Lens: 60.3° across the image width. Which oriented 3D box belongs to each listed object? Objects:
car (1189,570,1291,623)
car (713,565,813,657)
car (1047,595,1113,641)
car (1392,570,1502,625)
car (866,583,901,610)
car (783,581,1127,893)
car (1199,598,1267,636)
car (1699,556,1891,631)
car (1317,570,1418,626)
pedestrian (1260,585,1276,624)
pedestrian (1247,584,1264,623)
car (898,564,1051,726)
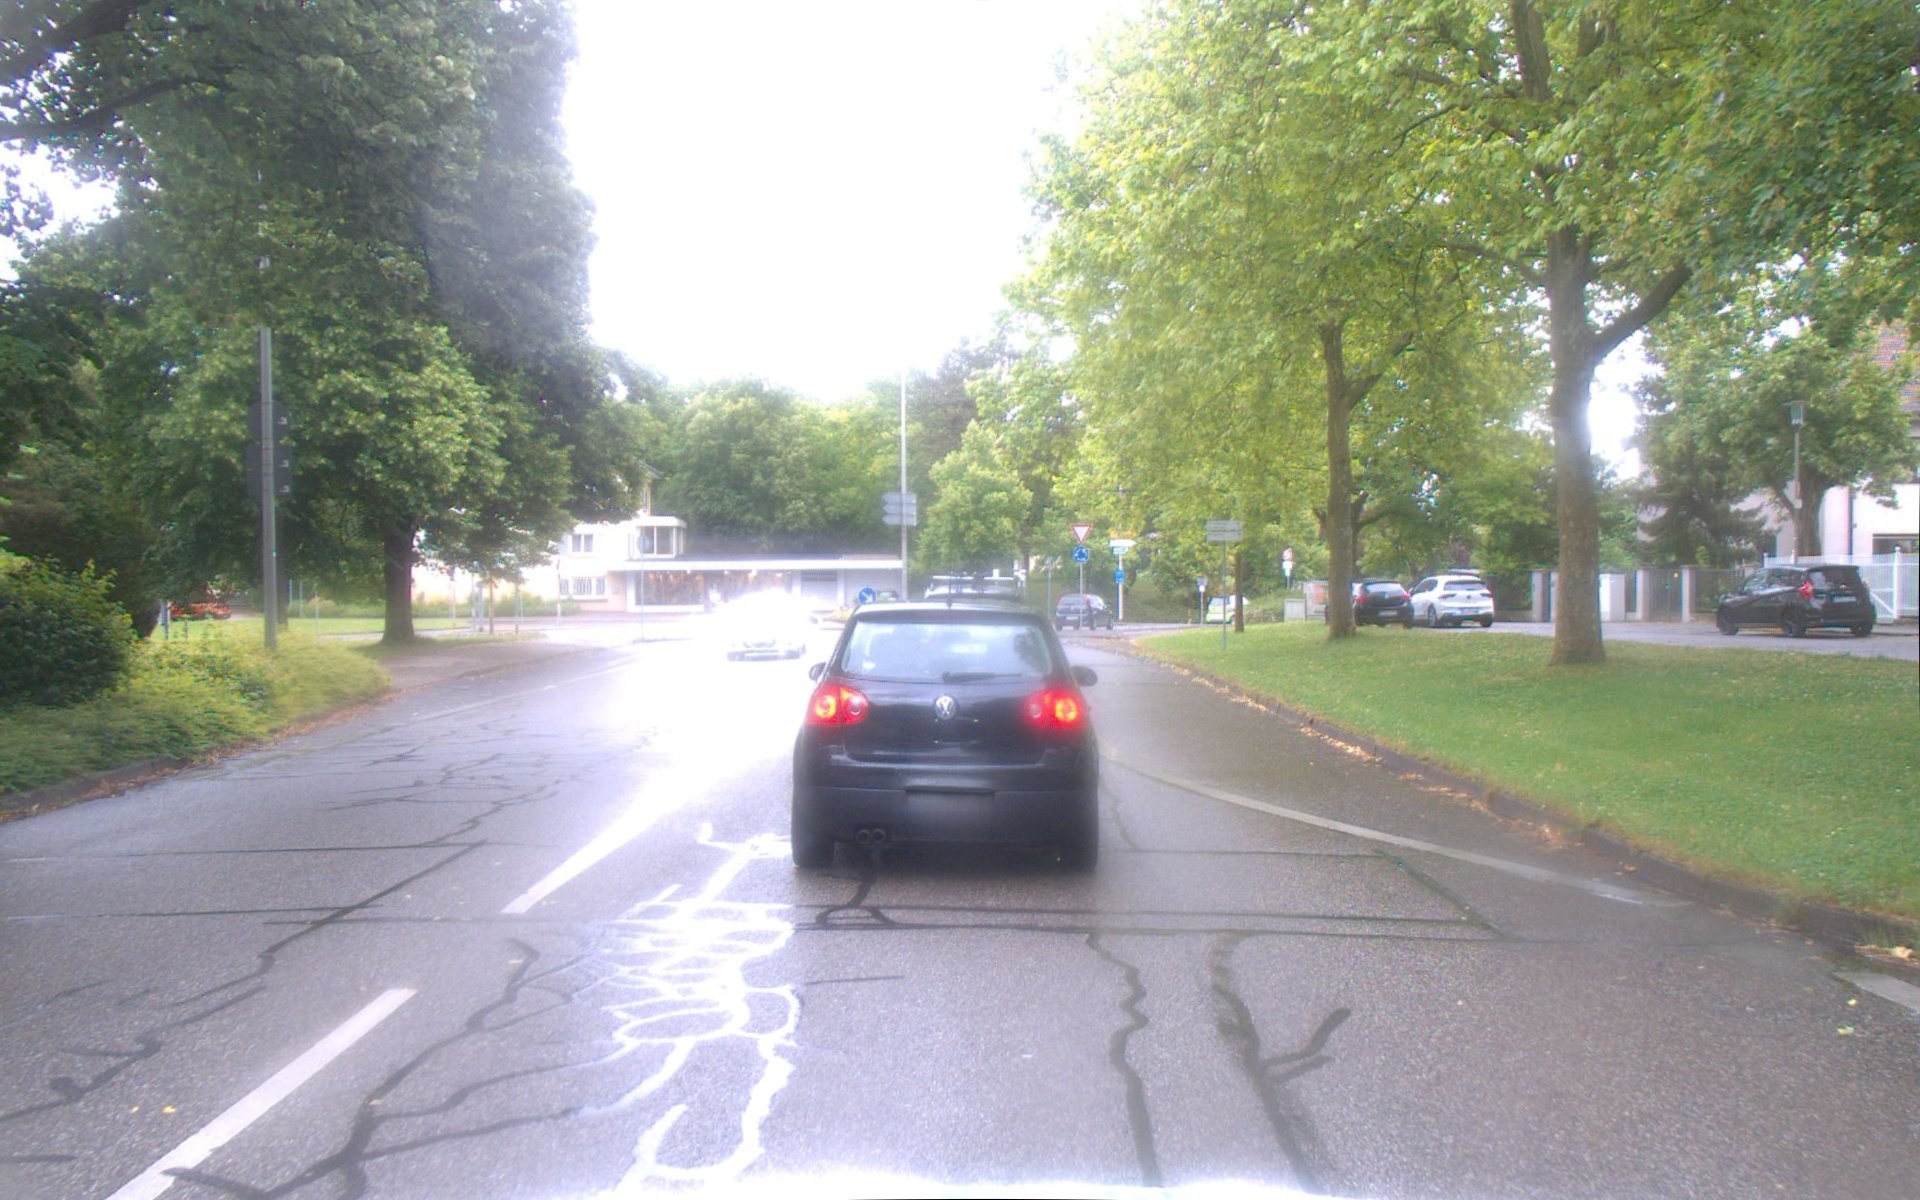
[{"bbox_3d":[10.514,-0.154,62.332,1.964,1.771,4.120,3,1,-20],"label":"car"},{"bbox_3d":[-4.671,0.261,39.819,1.953,2.049,4.572,1,0,-2],"label":"car"},{"bbox_3d":[4.946,0.735,67.595,1.952,1.556,4.003,-8,-2,12],"label":"car"},{"bbox_3d":[14.346,-0.067,48.999,1.808,1.497,4.424,-2,0,-2],"label":"car"},{"bbox_3d":[-4.536,-0.233,97.079,1.778,1.512,3.826,-1,0,-6],"label":"car"},{"bbox_3d":[-0.052,0.711,10.461,1.729,1.565,3.999,1,0,-1],"label":"car"},{"bbox_3d":[13.391,0.834,81.062,1.783,1.780,3.987,1,0,34],"label":"car"},{"bbox_3d":[17.978,-0.130,35.846,1.725,1.497,4.353,-1,0,-4],"label":"car"},{"bbox_3d":[11.940,-0.036,48.718,1.728,1.497,4.597,-2,0,-1],"label":"car"},{"bbox_3d":[13.955,0.212,74.984,0.620,1.743,0.530,1,-1,17],"label":"pedestrian"},{"bbox_3d":[13.314,0.170,74.512,0.519,1.743,0.633,1,-1,-14],"label":"pedestrian"},{"bbox_3d":[0.139,0.526,21.242,1.729,1.833,4.245,-1,0,-1],"label":"car"}]
